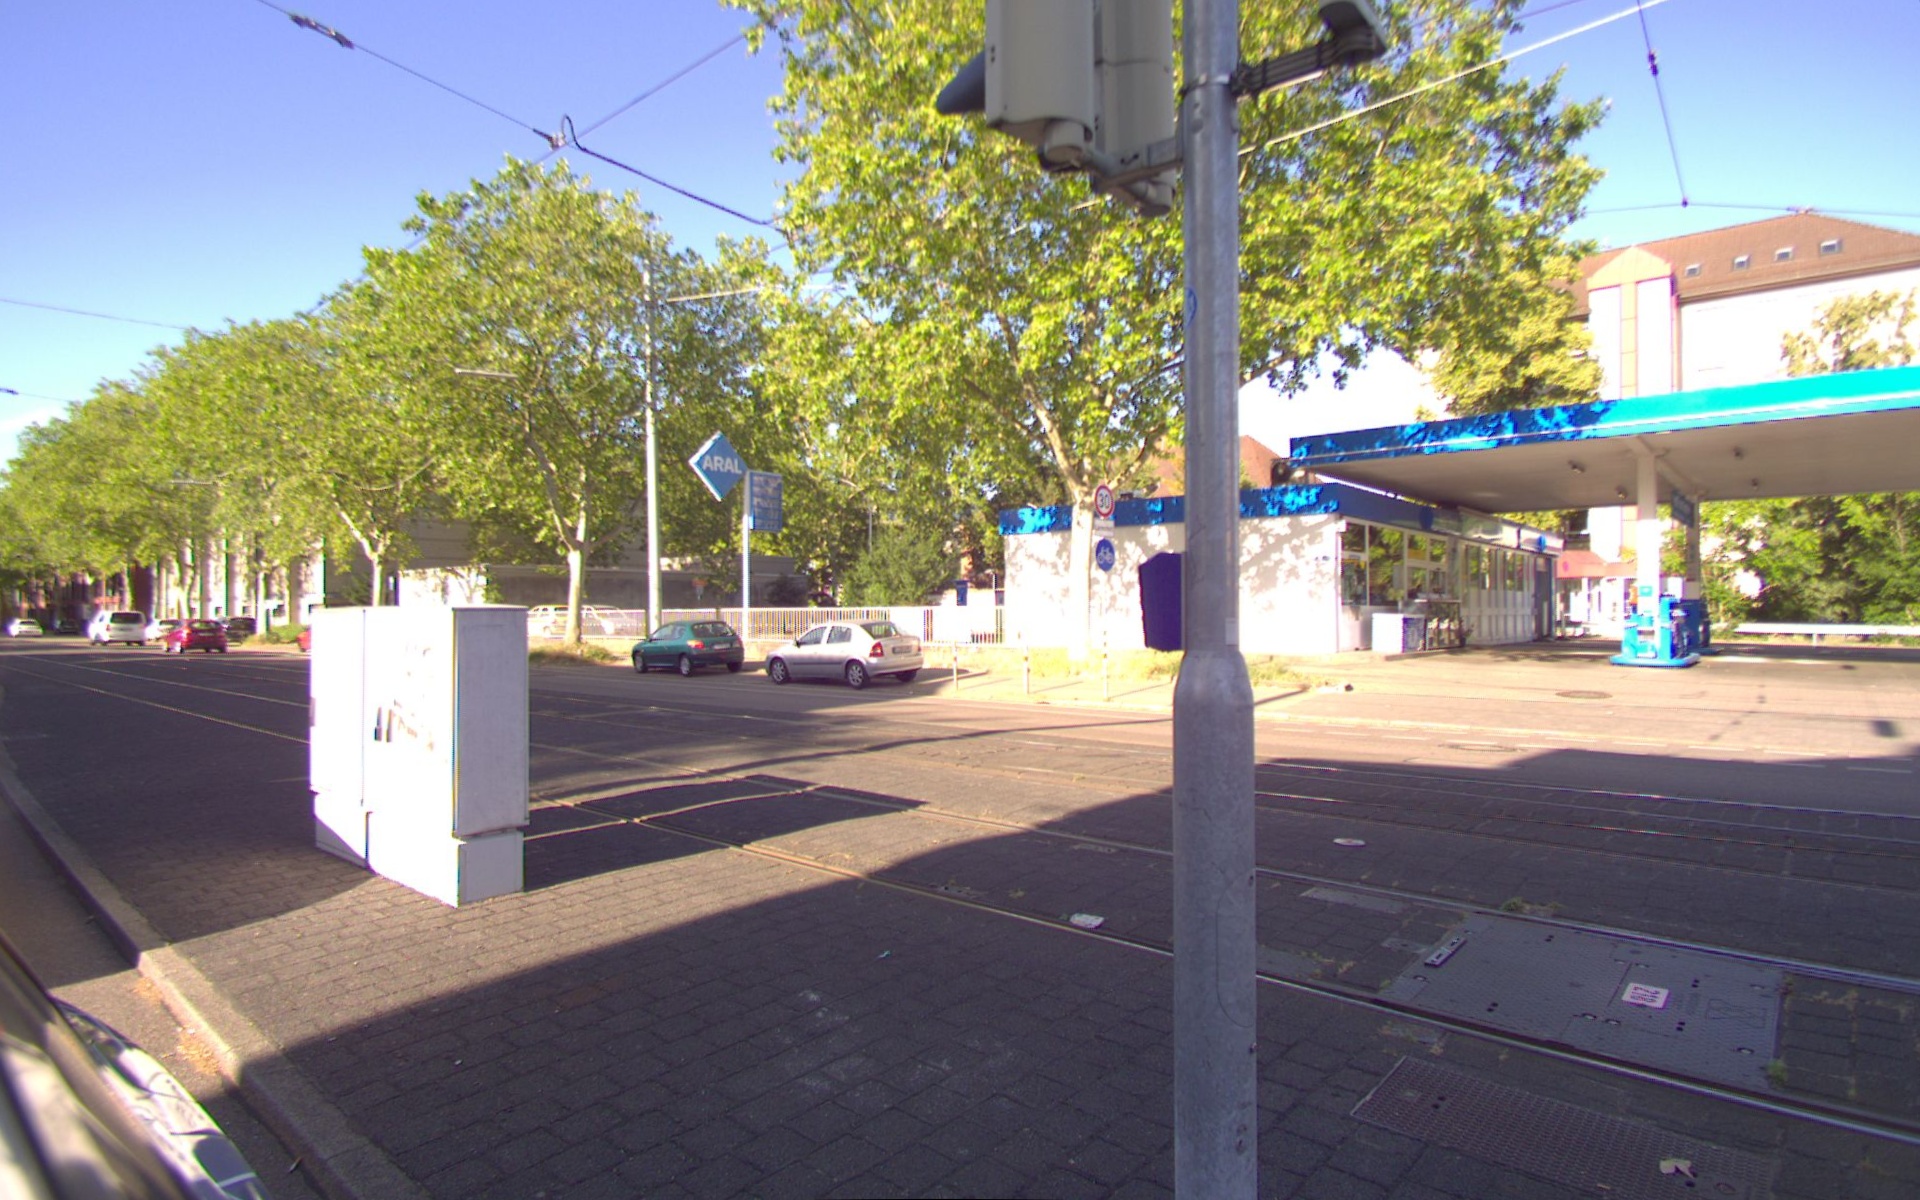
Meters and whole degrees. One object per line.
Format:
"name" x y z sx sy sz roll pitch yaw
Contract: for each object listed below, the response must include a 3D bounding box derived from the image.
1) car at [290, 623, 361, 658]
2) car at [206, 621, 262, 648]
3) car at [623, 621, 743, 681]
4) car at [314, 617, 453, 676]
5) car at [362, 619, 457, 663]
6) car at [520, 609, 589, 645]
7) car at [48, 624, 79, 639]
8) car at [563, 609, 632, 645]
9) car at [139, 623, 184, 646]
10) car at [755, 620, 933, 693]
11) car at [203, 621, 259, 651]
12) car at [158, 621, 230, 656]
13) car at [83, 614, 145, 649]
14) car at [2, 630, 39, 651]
"car" -28.929 1.807 46.111 3.998 1.480 1.678 -1 -2 41
"car" -40.602 1.899 56.570 3.998 1.420 1.678 -1 -2 41
"car" -7.367 1.309 26.793 3.253 1.431 1.526 -1 0 41
"car" -16.388 1.283 28.663 4.761 1.534 1.887 -1 -2 40
"car" -21.926 1.578 40.250 4.431 1.534 1.731 -1 3 40
"car" -16.831 1.104 41.966 3.151 1.431 1.525 -1 0 44
"car" -85.184 2.991 96.158 3.998 1.420 1.678 -1 -2 41
"car" -15.381 1.124 42.859 3.151 1.431 1.525 -1 0 44
"car" -53.812 2.304 68.194 3.998 1.420 1.678 -1 -2 41
"car" -2.655 1.190 22.593 3.998 1.431 1.709 -1 0 41
"car" -40.737 1.992 56.530 3.998 1.587 1.678 -1 -2 41
"car" -32.770 1.607 43.275 3.998 1.431 1.678 -1 -2 41
"car" -46.532 1.711 55.622 4.390 1.860 1.827 -1 -2 39
"car" -73.648 3.154 79.335 3.998 1.507 1.741 -1 0 41
